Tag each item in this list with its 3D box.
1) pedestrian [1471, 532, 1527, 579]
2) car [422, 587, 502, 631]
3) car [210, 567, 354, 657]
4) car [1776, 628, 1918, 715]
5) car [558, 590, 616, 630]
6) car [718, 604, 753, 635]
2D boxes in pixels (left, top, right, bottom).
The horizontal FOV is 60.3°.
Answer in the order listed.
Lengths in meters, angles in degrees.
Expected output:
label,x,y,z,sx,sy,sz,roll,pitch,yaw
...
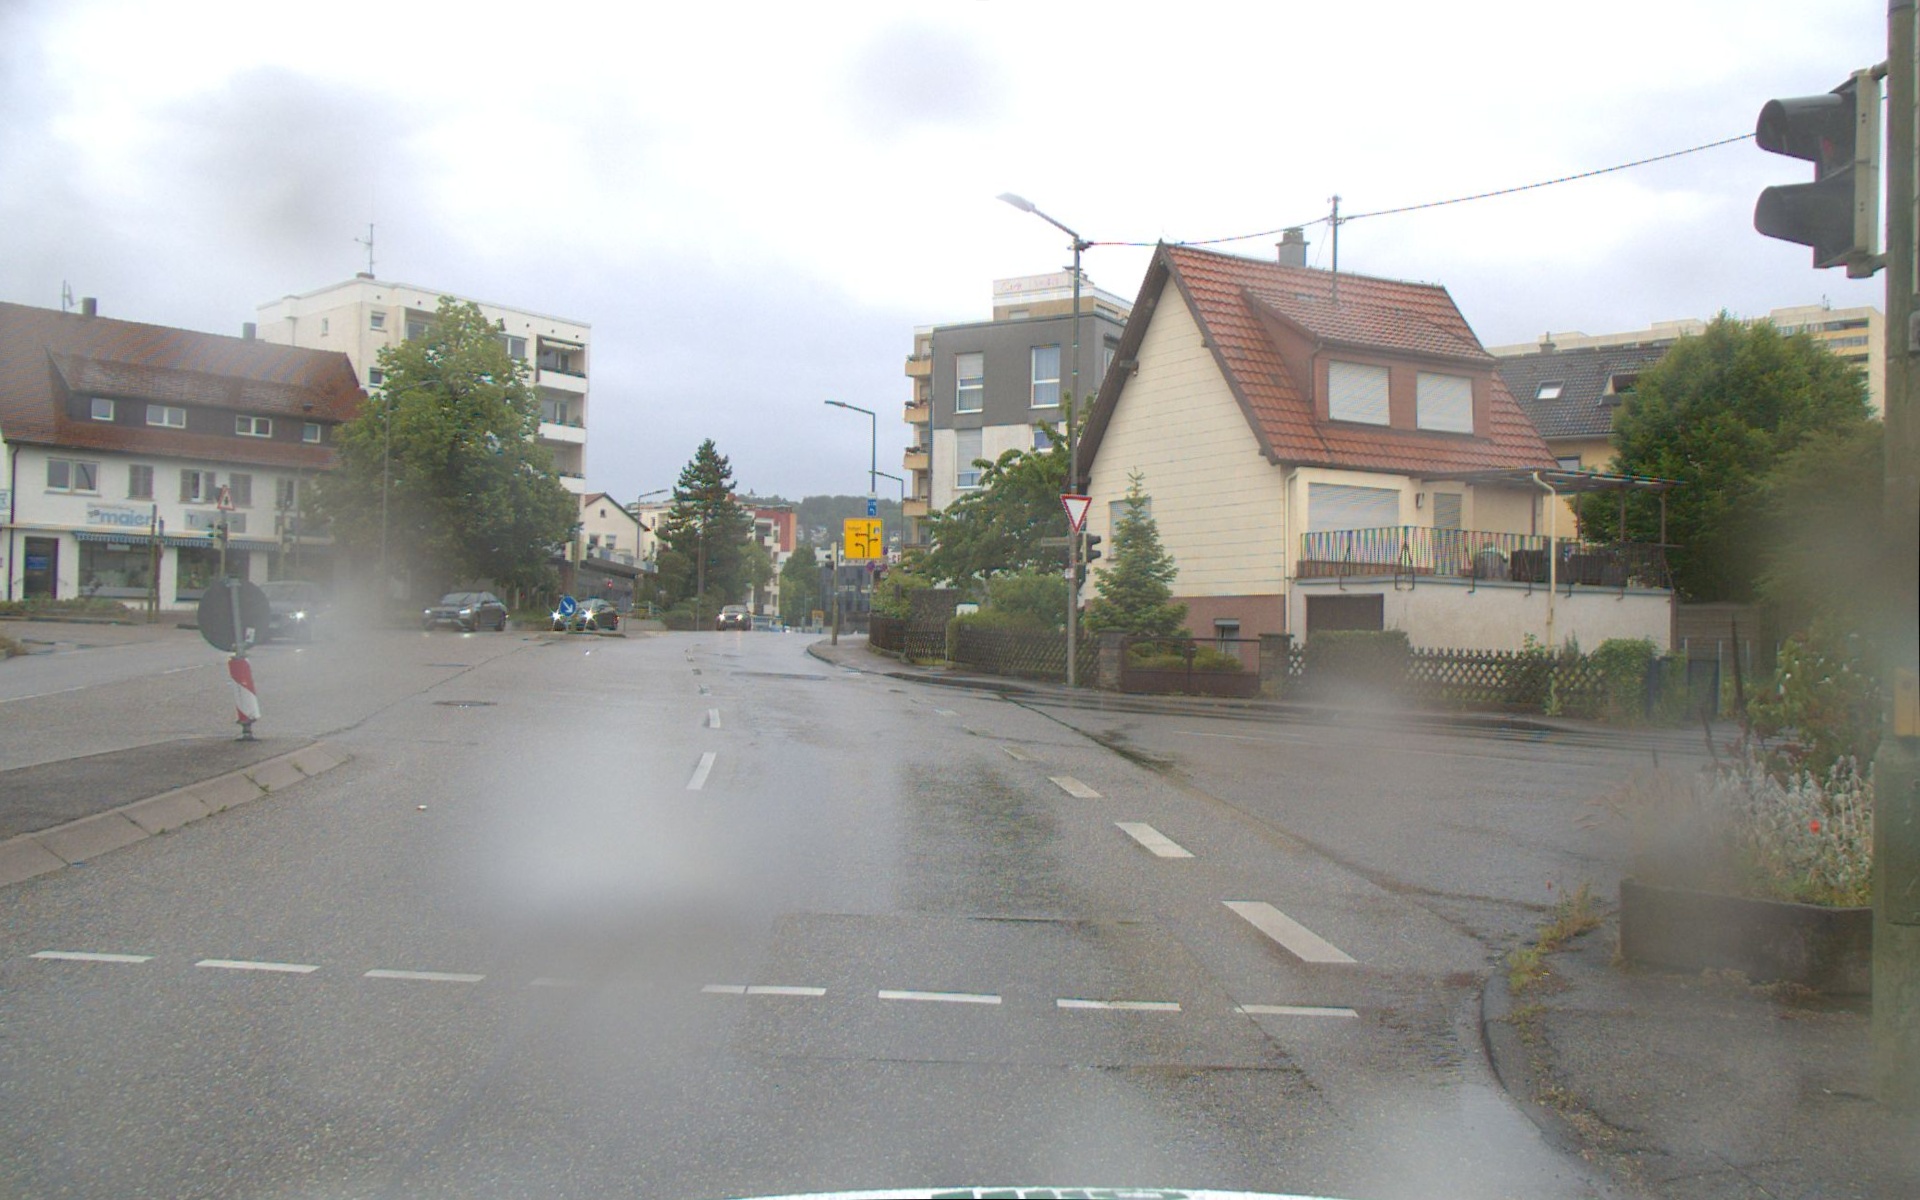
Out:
label,x,y,z,sx,sy,sz,roll,pitch,yaw
pedestrian,11.246,-0.921,34.520,0.902,0.898,0.632,1,-3,-20
car,-17.827,0.348,59.381,1.955,1.489,3.995,1,-1,-5
car,-15.724,0.296,38.584,1.955,1.937,3.995,1,-1,-5
car,15.700,1.228,29.186,1.781,1.386,3.986,0,-1,35
car,-16.607,0.463,73.739,1.955,1.708,3.995,1,-1,-5
car,-14.068,1.237,103.974,1.955,1.843,3.995,1,-1,-5
